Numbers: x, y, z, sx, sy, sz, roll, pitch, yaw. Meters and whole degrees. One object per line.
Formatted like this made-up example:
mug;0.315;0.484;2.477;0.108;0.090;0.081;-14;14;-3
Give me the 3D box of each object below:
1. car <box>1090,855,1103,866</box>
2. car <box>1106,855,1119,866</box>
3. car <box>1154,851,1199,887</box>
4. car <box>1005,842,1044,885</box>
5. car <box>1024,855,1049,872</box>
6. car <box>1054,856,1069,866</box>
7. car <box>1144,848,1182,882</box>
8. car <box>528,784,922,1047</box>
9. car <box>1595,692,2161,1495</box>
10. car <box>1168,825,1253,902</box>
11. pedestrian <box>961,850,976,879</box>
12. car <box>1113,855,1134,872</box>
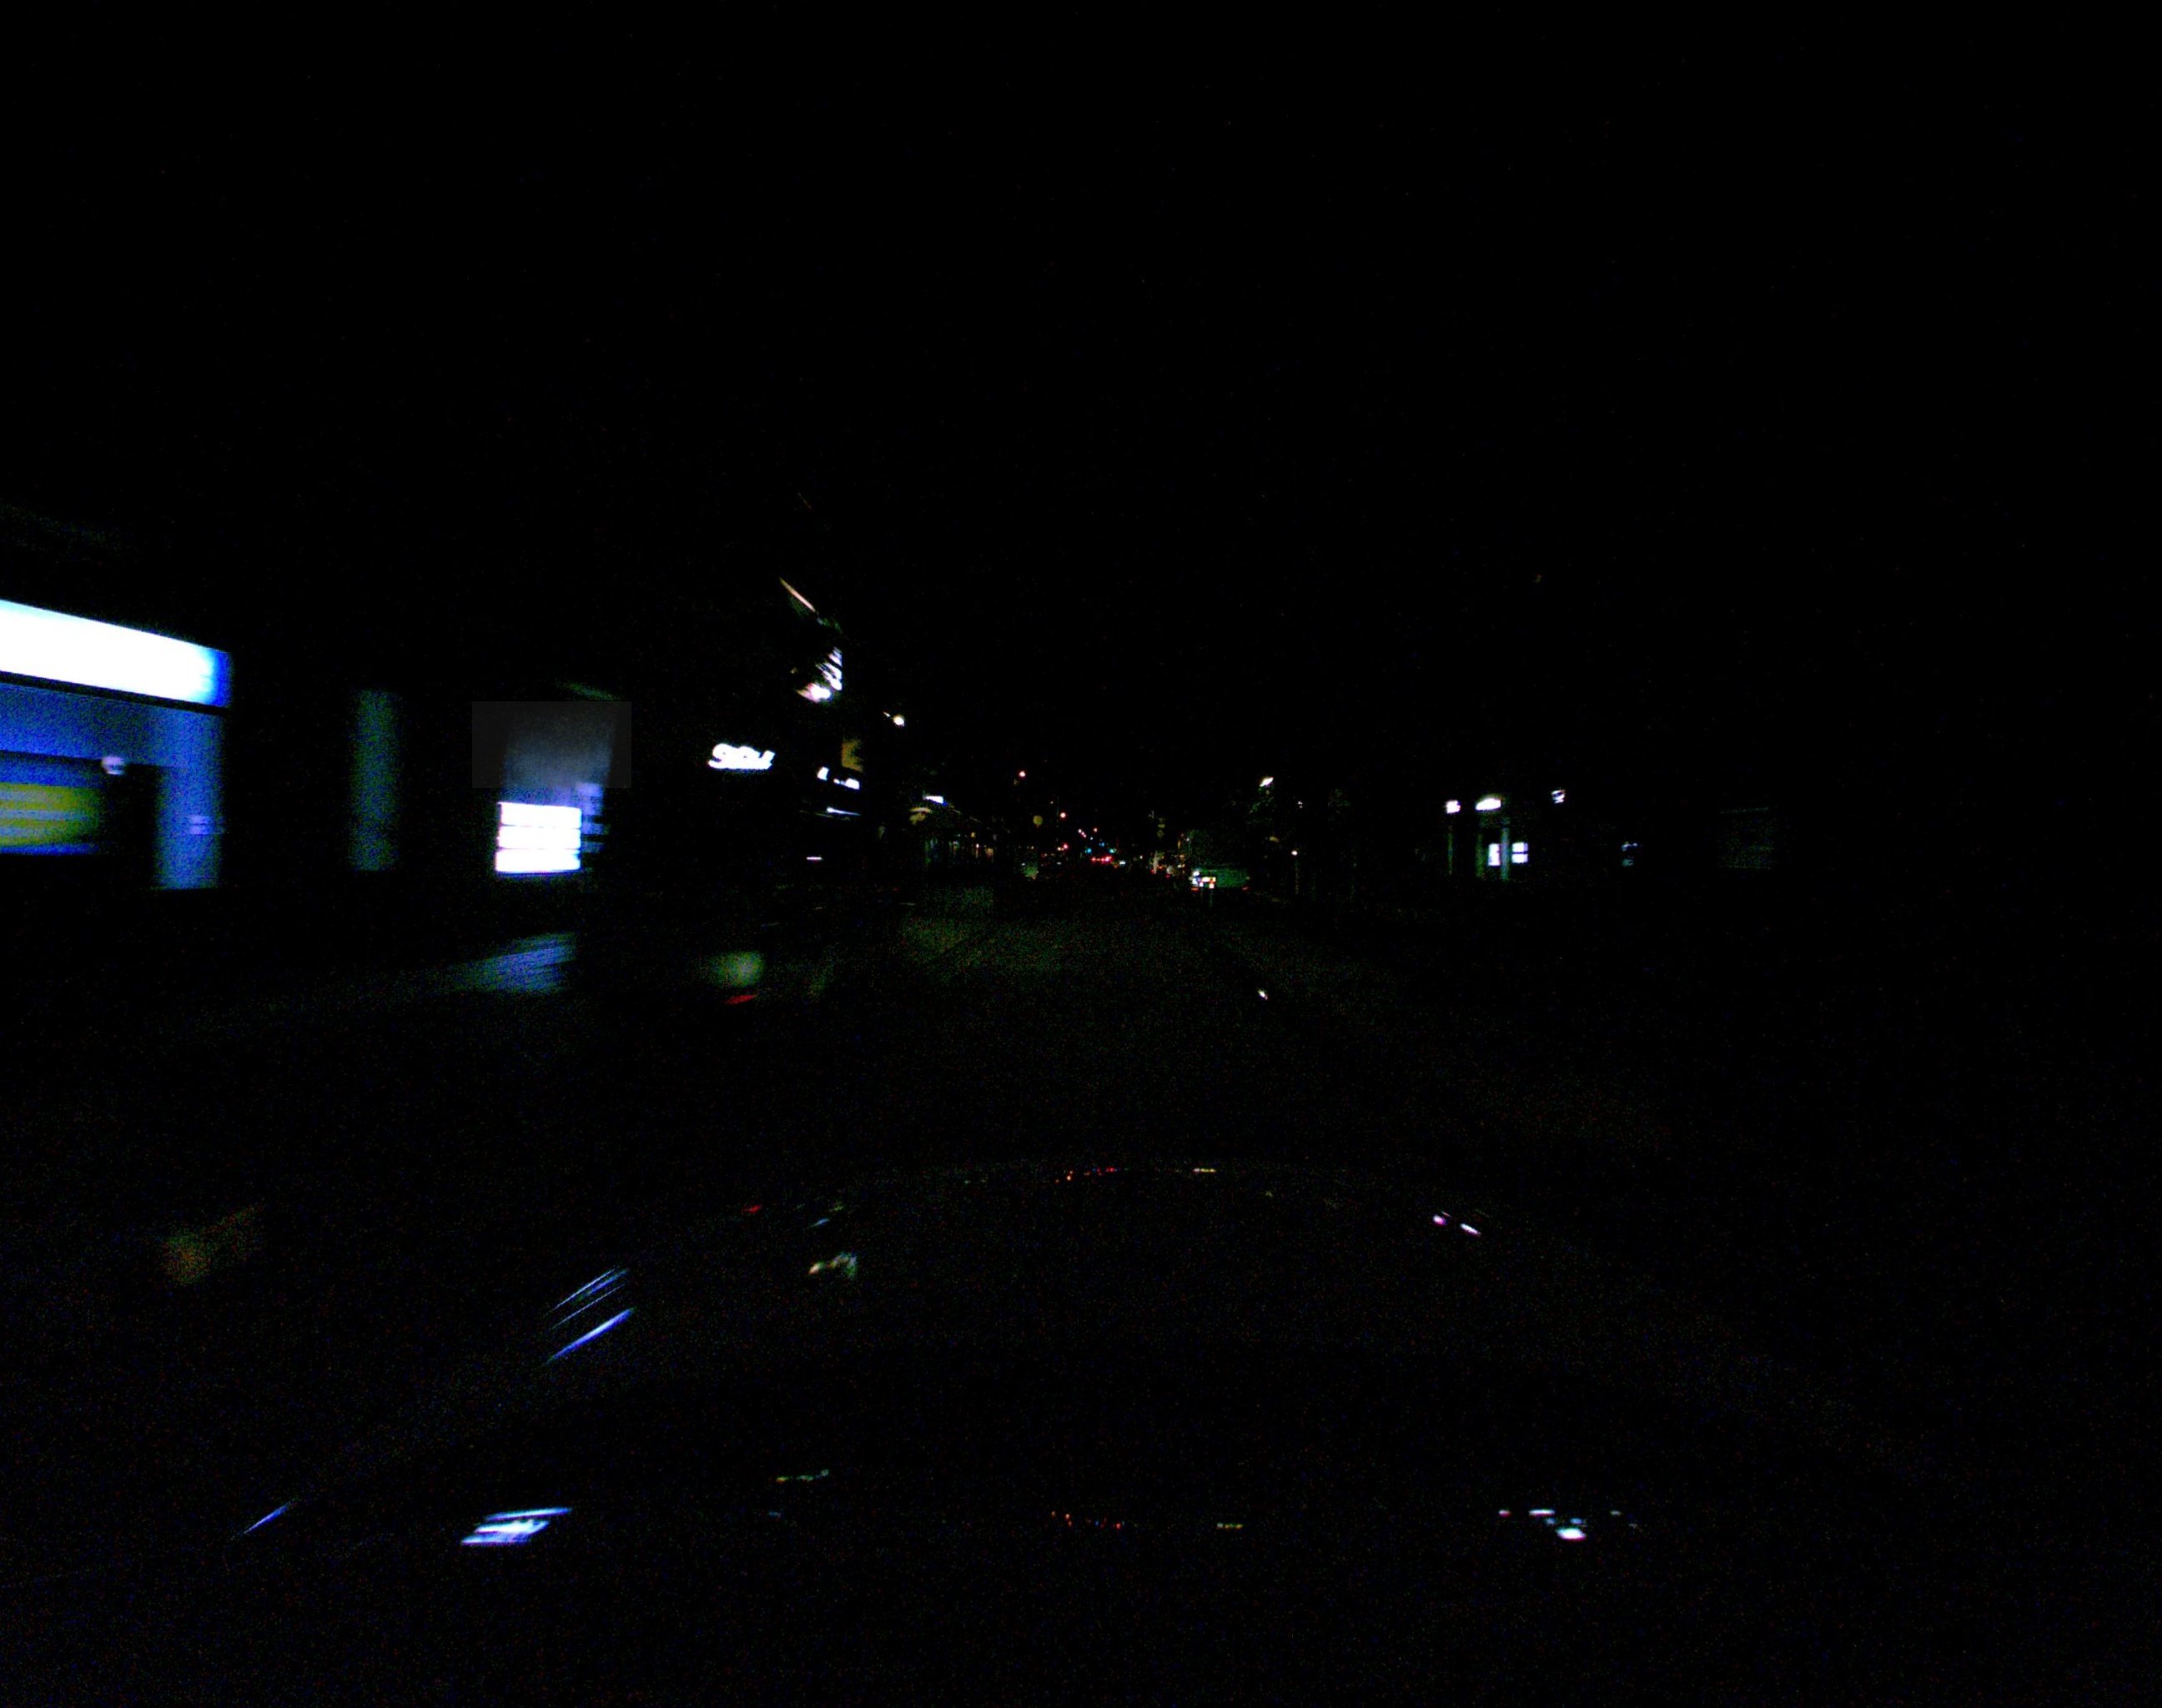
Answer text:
car;2.479;1.018;125.945;1.986;1.643;4.001;0;0;1
car;4.140;0.843;106.588;1.757;1.414;4.810;1;0;2
car;4.674;0.711;40.226;1.679;1.659;4.296;0;0;0
car;-3.008;0.478;43.719;1.849;2.087;5.083;3;0;-4
car;-4.019;0.863;74.905;1.800;1.425;4.923;3;0;2
car;-2.736;0.944;112.579;1.734;1.413;4.498;2;0;2
car;4.600;0.573;46.337;1.783;1.822;4.580;0;0;1
car;-3.261;0.481;8.871;1.918;1.965;5.077;2;0;1
car;3.376;0.543;1.430;1.901;1.803;4.937;0;0;1
car;4.248;0.292;27.583;2.127;2.326;5.152;0;0;1
pedestrian;-6.654;0.600;48.207;0.666;1.719;0.909;0;0;1
car;3.825;0.849;73.893;1.811;1.500;4.002;0;0;2
